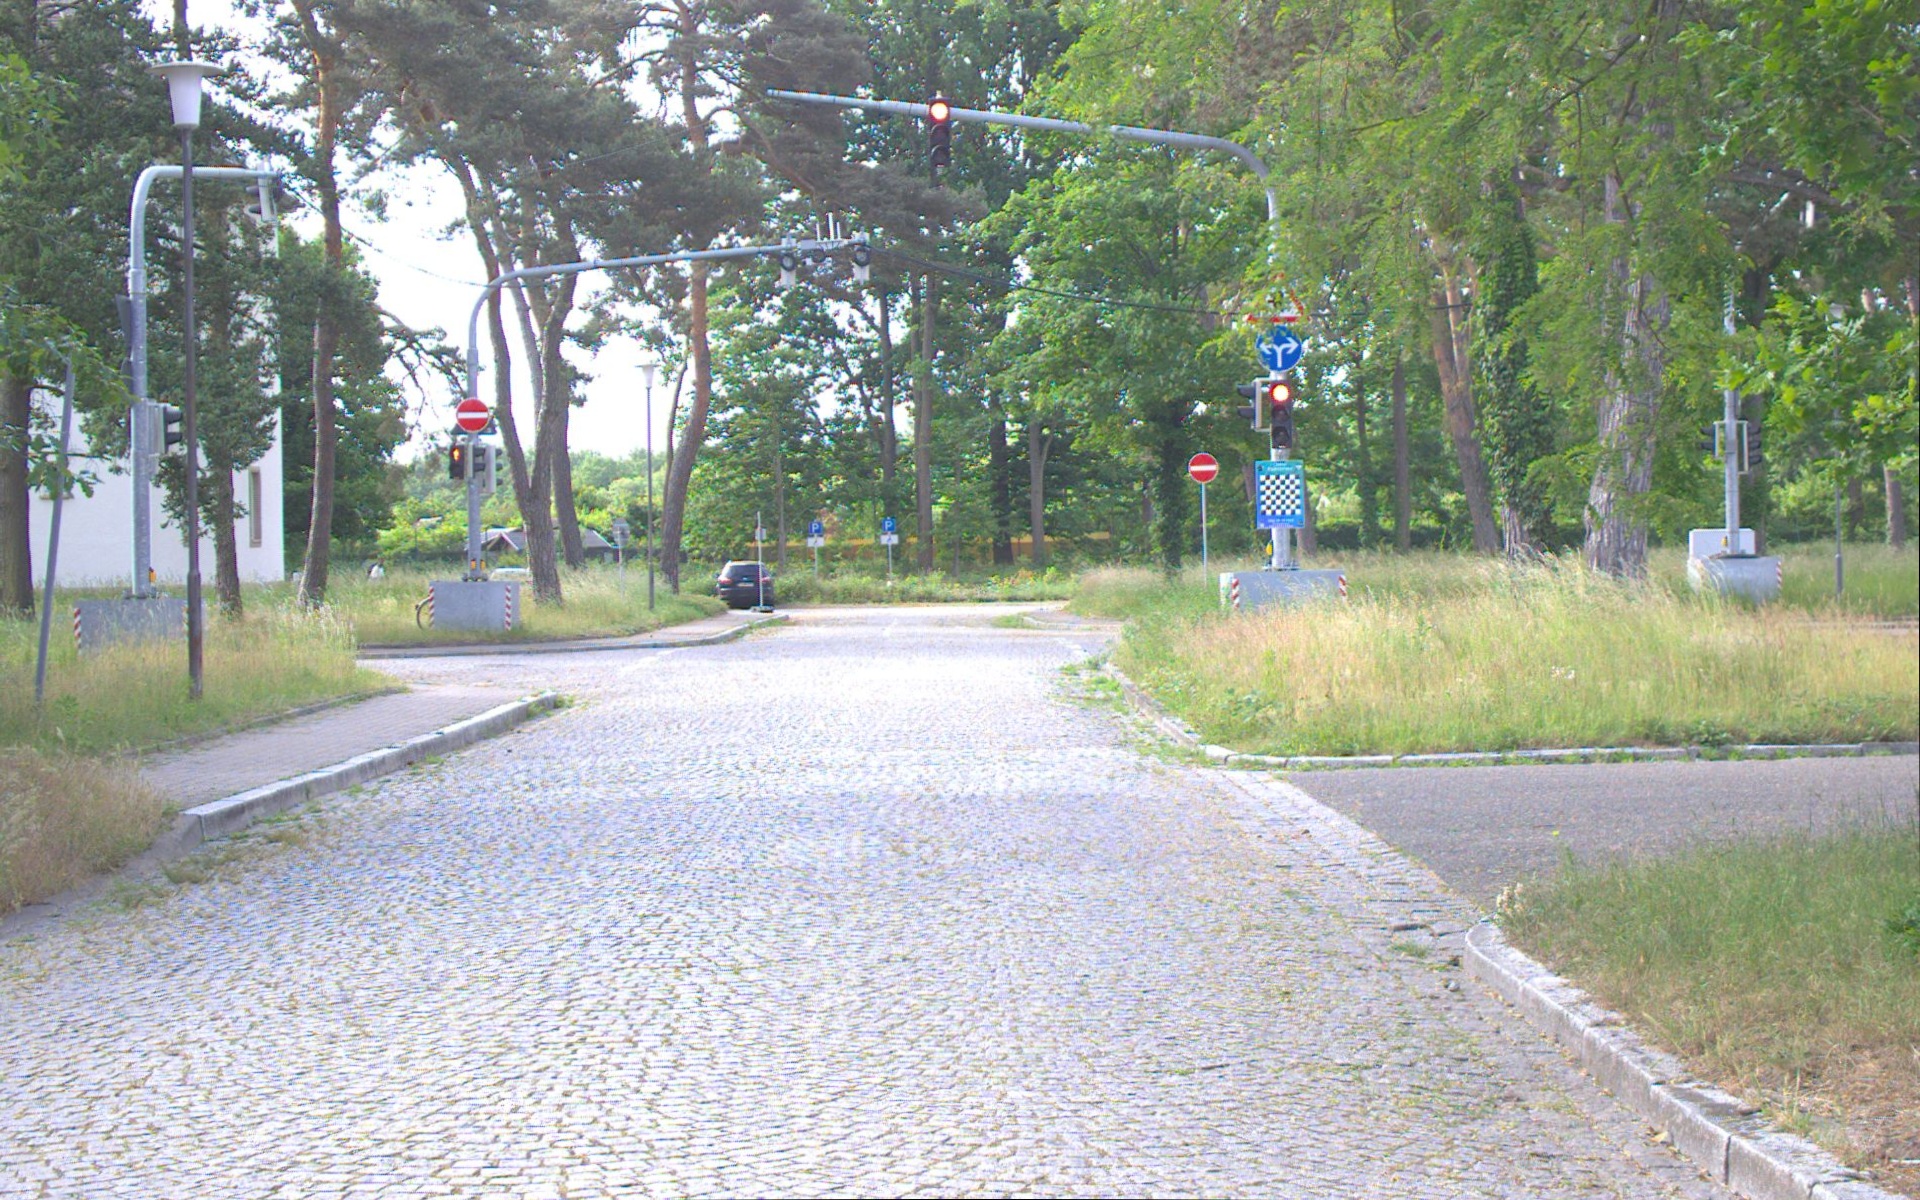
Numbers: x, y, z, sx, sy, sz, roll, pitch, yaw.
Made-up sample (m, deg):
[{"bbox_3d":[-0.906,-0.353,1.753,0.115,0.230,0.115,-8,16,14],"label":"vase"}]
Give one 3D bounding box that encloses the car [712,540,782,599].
[{"bbox_3d":[-6.868,-1.011,111.122,2.056,1.840,4.000,-1,1,-1],"label":"car"}]
